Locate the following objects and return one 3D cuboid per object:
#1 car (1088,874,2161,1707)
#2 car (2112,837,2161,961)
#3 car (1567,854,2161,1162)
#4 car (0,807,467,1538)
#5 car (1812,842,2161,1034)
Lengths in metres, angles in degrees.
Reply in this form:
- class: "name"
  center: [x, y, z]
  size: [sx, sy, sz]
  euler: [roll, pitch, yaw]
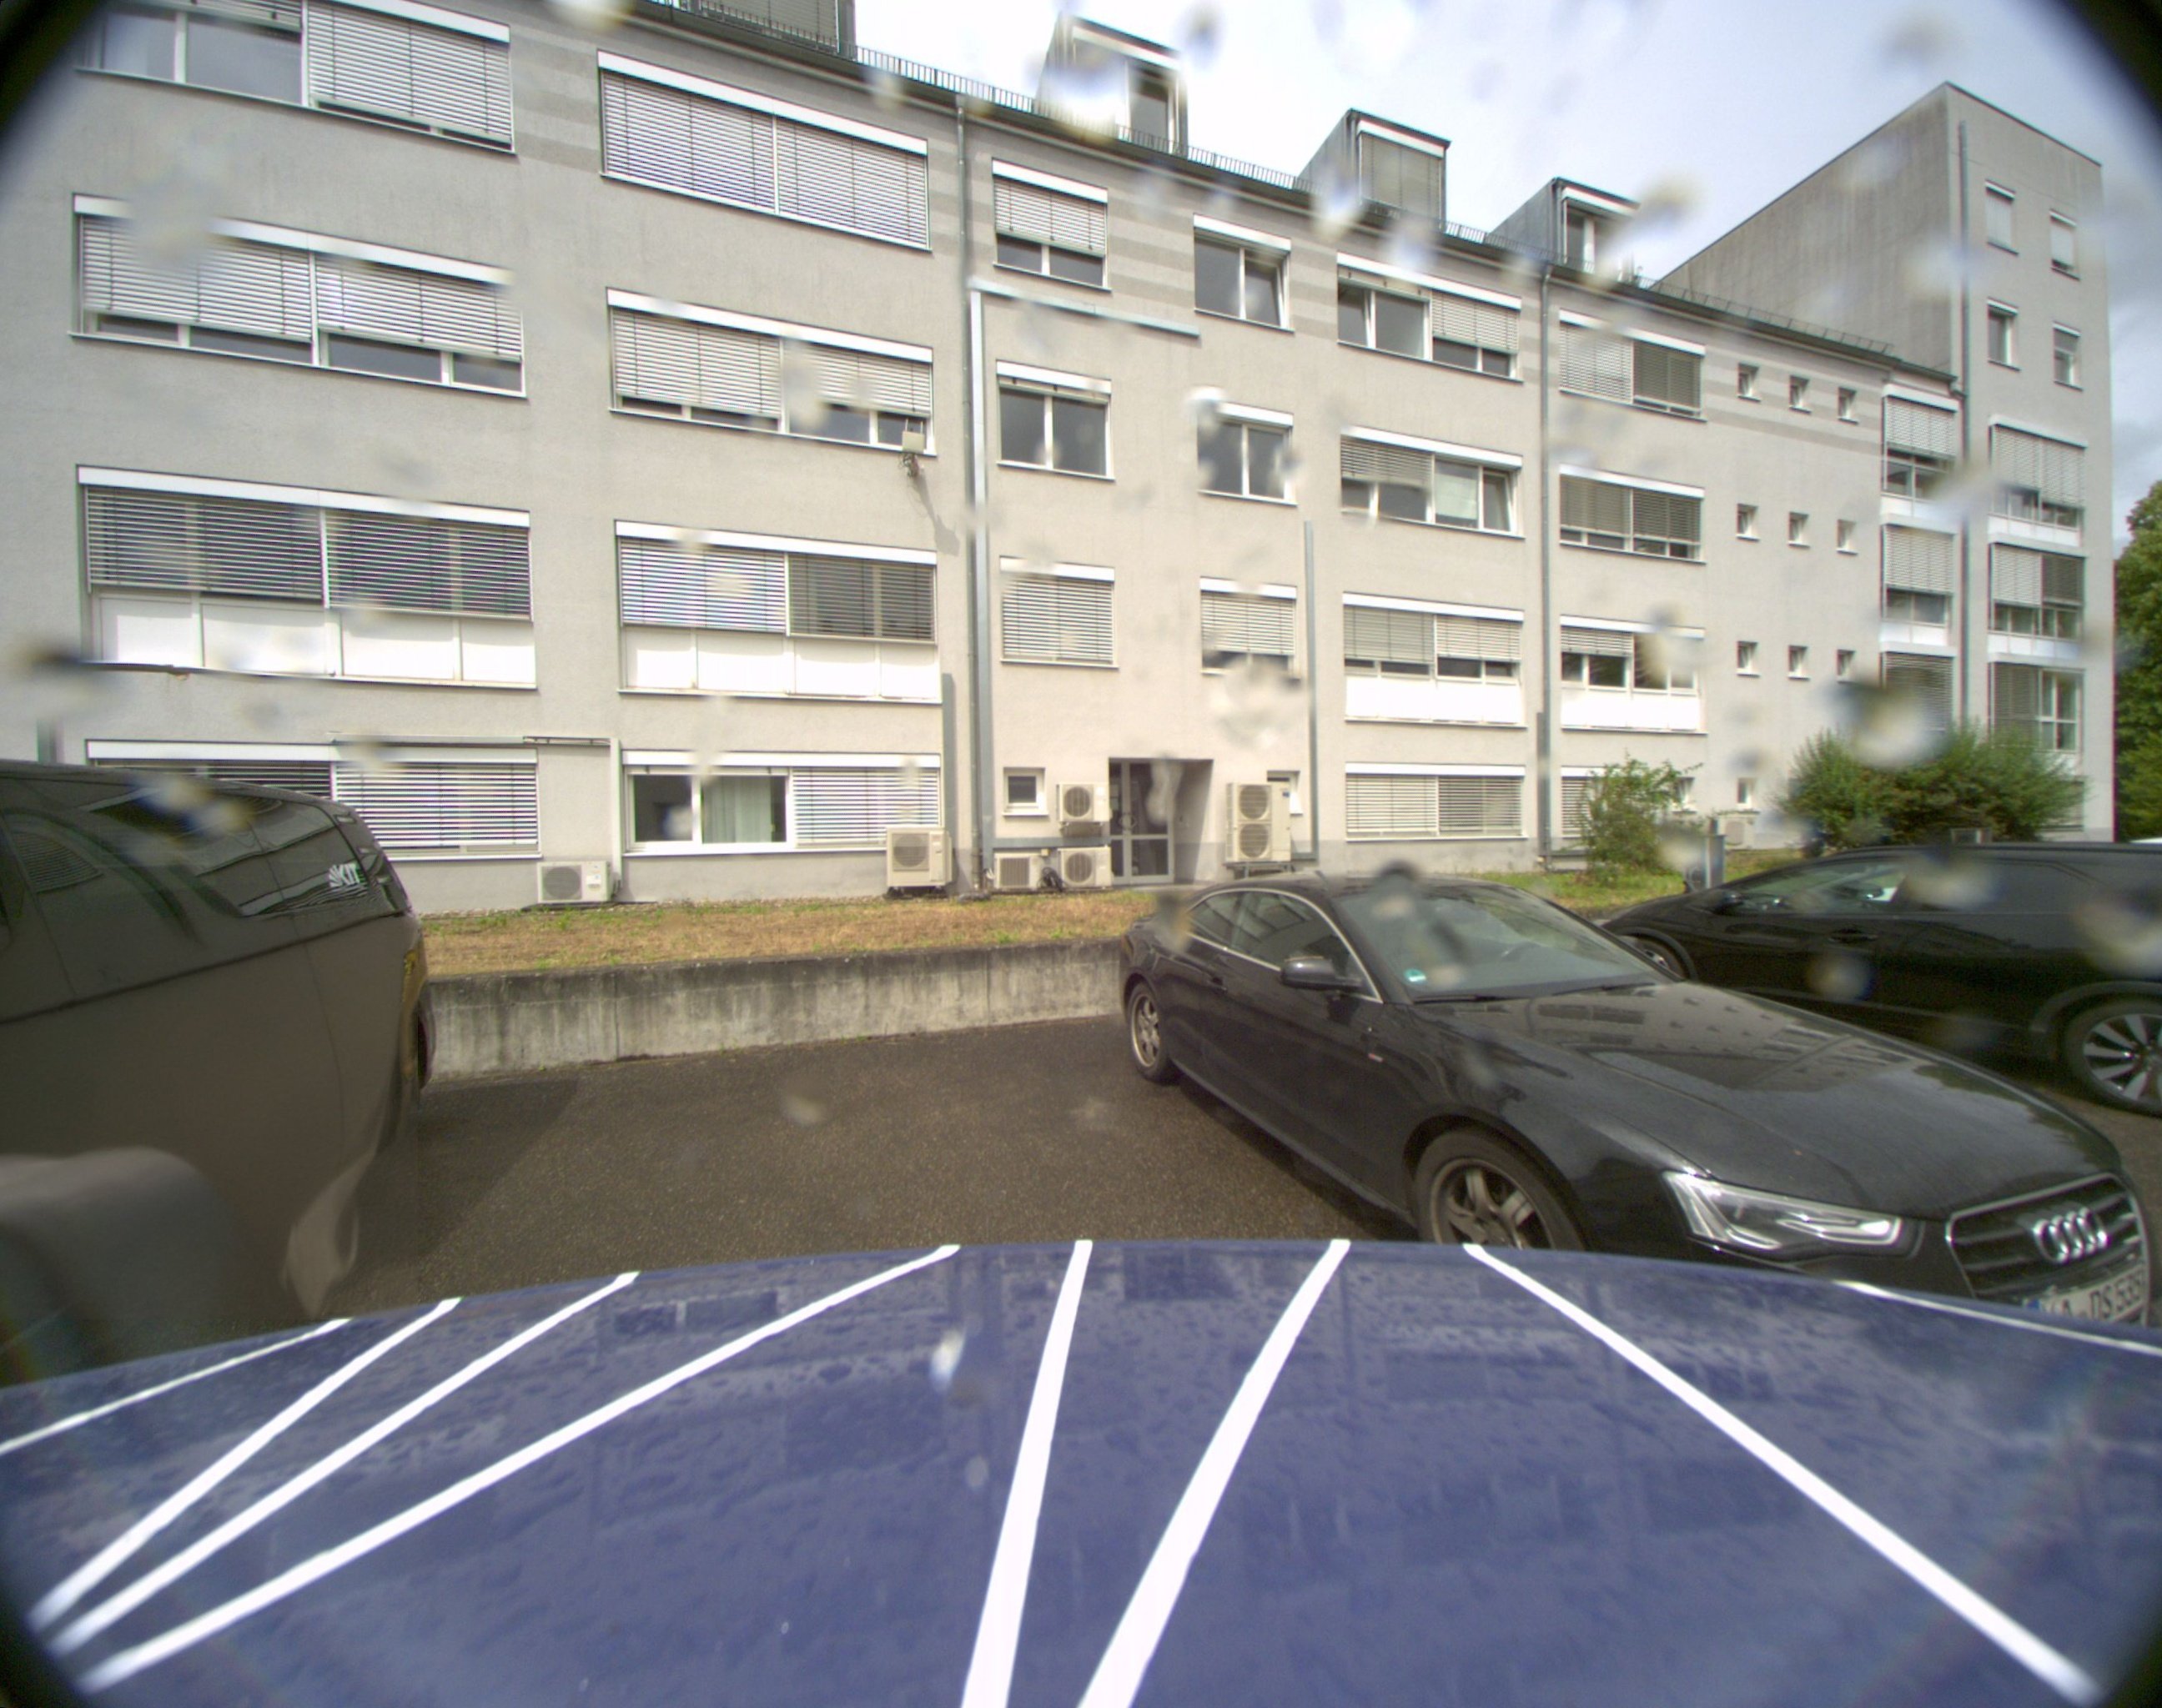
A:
- class: "car"
  center: [1.587, 0.919, 3.710]
  size: [1.764, 1.344, 4.521]
  euler: [-2, 2, -17]
- class: "car"
  center: [14.184, 0.560, 7.555]
  size: [1.764, 1.435, 4.308]
  euler: [-2, 2, -18]
- class: "car"
  center: [5.989, 0.802, 5.222]
  size: [1.764, 1.435, 4.308]
  euler: [-2, 2, -19]
- class: "car"
  center: [-3.786, 0.829, 1.851]
  size: [1.972, 1.854, 4.739]
  euler: [-2, 2, -19]
- class: "car"
  center: [9.211, 0.662, 6.375]
  size: [1.697, 1.435, 4.118]
  euler: [-2, 2, -17]
